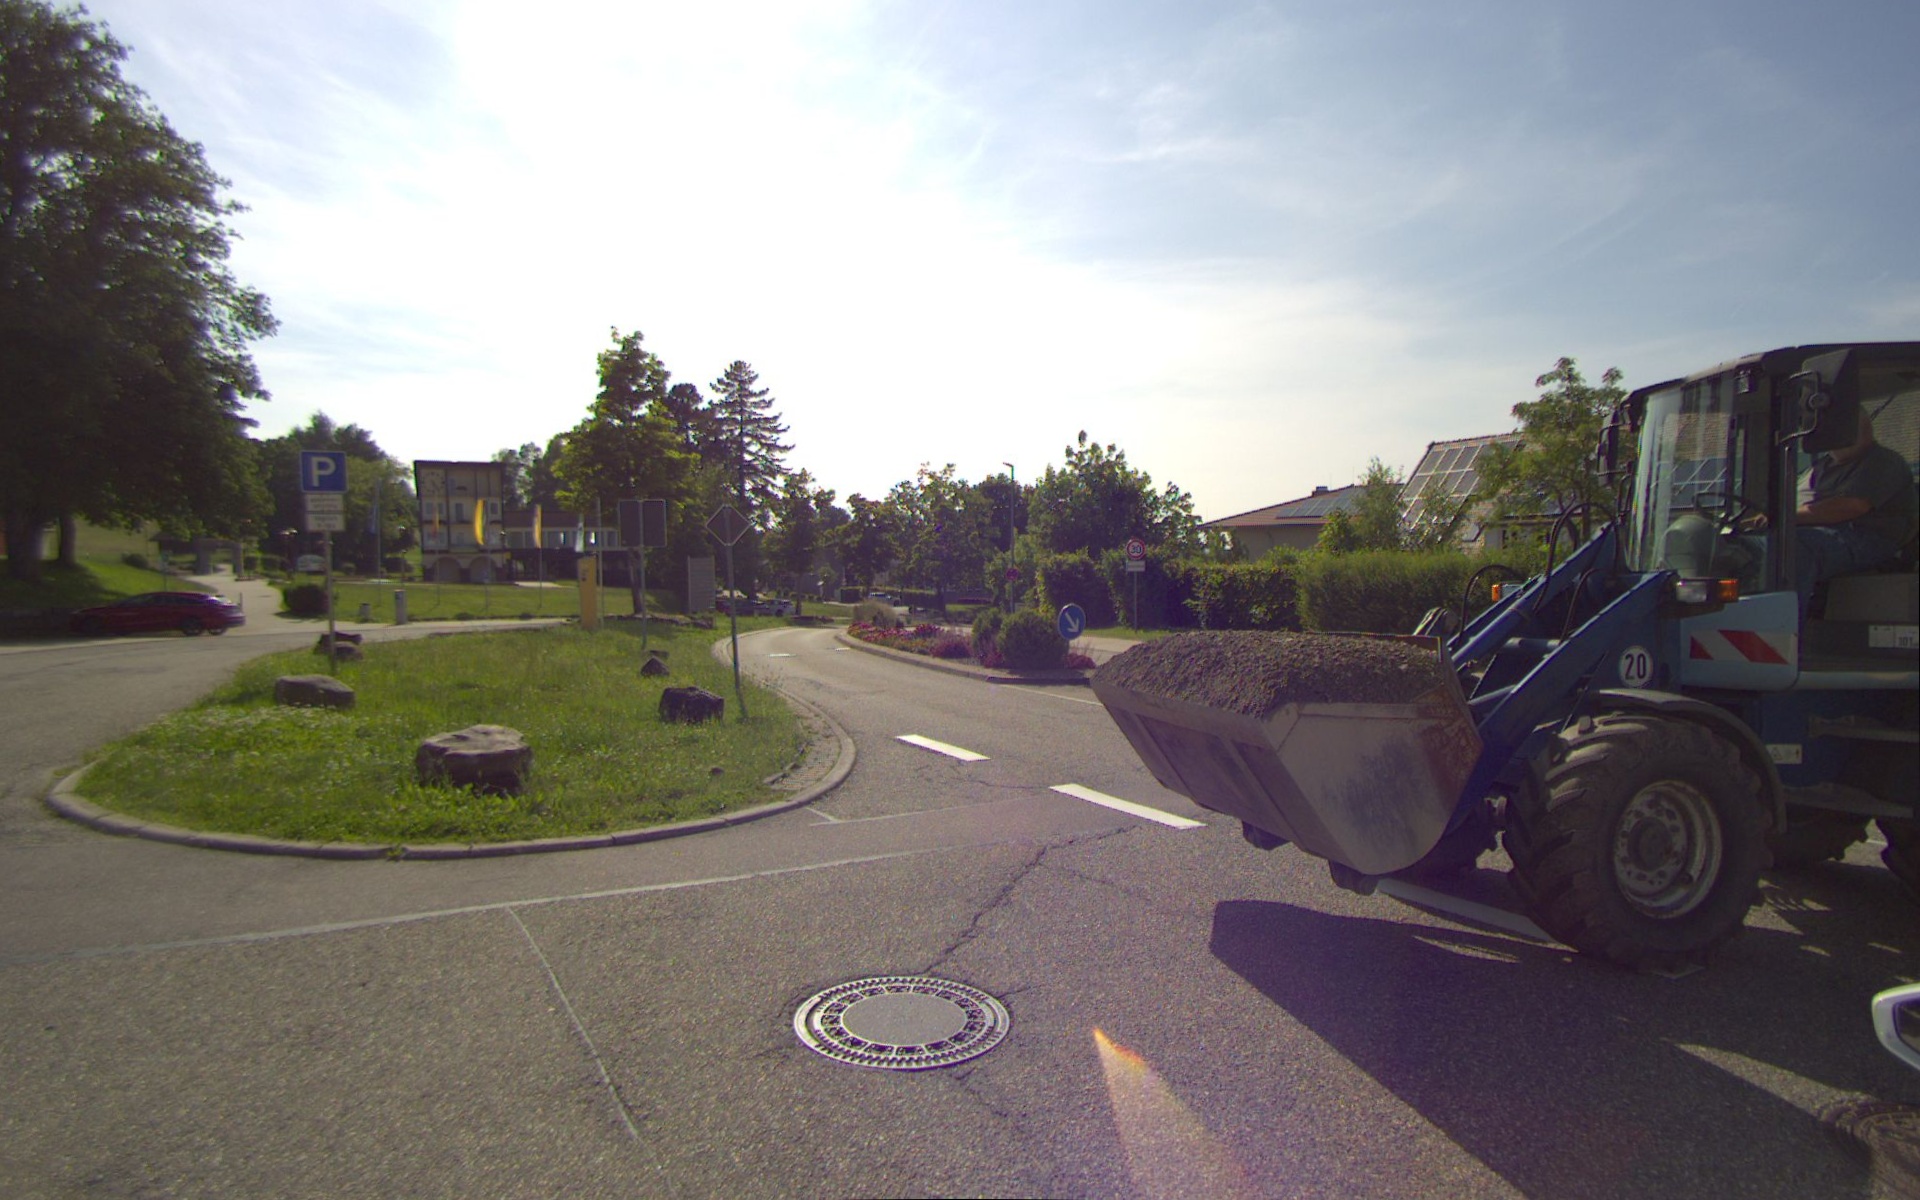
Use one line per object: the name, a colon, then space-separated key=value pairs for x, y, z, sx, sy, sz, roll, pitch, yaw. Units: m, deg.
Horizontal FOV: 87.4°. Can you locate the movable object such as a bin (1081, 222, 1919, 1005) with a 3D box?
movable object such as a bin: x=3.297 y=0.077 z=4.911 sx=5.010 sy=2.806 sz=1.997 roll=1 pitch=1 yaw=-7

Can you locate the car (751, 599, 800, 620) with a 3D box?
car: x=-16.132 y=0.814 z=87.905 sx=3.866 sy=1.630 sz=1.775 roll=2 pitch=0 yaw=25

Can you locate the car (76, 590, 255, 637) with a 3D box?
car: x=-25.748 y=0.432 z=32.700 sx=4.166 sy=1.417 sz=1.819 roll=1 pitch=0 yaw=-14

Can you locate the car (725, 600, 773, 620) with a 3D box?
car: x=-17.671 y=0.845 z=84.139 sx=3.643 sy=1.452 sz=1.775 roll=2 pitch=0 yaw=25

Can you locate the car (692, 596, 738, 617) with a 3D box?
car: x=-19.774 y=0.531 z=81.182 sx=3.146 sy=1.490 sz=1.775 roll=2 pitch=0 yaw=23

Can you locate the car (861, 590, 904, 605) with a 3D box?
car: x=-9.252 y=-0.292 z=119.981 sx=4.678 sy=1.555 sz=1.982 roll=-1 pitch=6 yaw=-33
